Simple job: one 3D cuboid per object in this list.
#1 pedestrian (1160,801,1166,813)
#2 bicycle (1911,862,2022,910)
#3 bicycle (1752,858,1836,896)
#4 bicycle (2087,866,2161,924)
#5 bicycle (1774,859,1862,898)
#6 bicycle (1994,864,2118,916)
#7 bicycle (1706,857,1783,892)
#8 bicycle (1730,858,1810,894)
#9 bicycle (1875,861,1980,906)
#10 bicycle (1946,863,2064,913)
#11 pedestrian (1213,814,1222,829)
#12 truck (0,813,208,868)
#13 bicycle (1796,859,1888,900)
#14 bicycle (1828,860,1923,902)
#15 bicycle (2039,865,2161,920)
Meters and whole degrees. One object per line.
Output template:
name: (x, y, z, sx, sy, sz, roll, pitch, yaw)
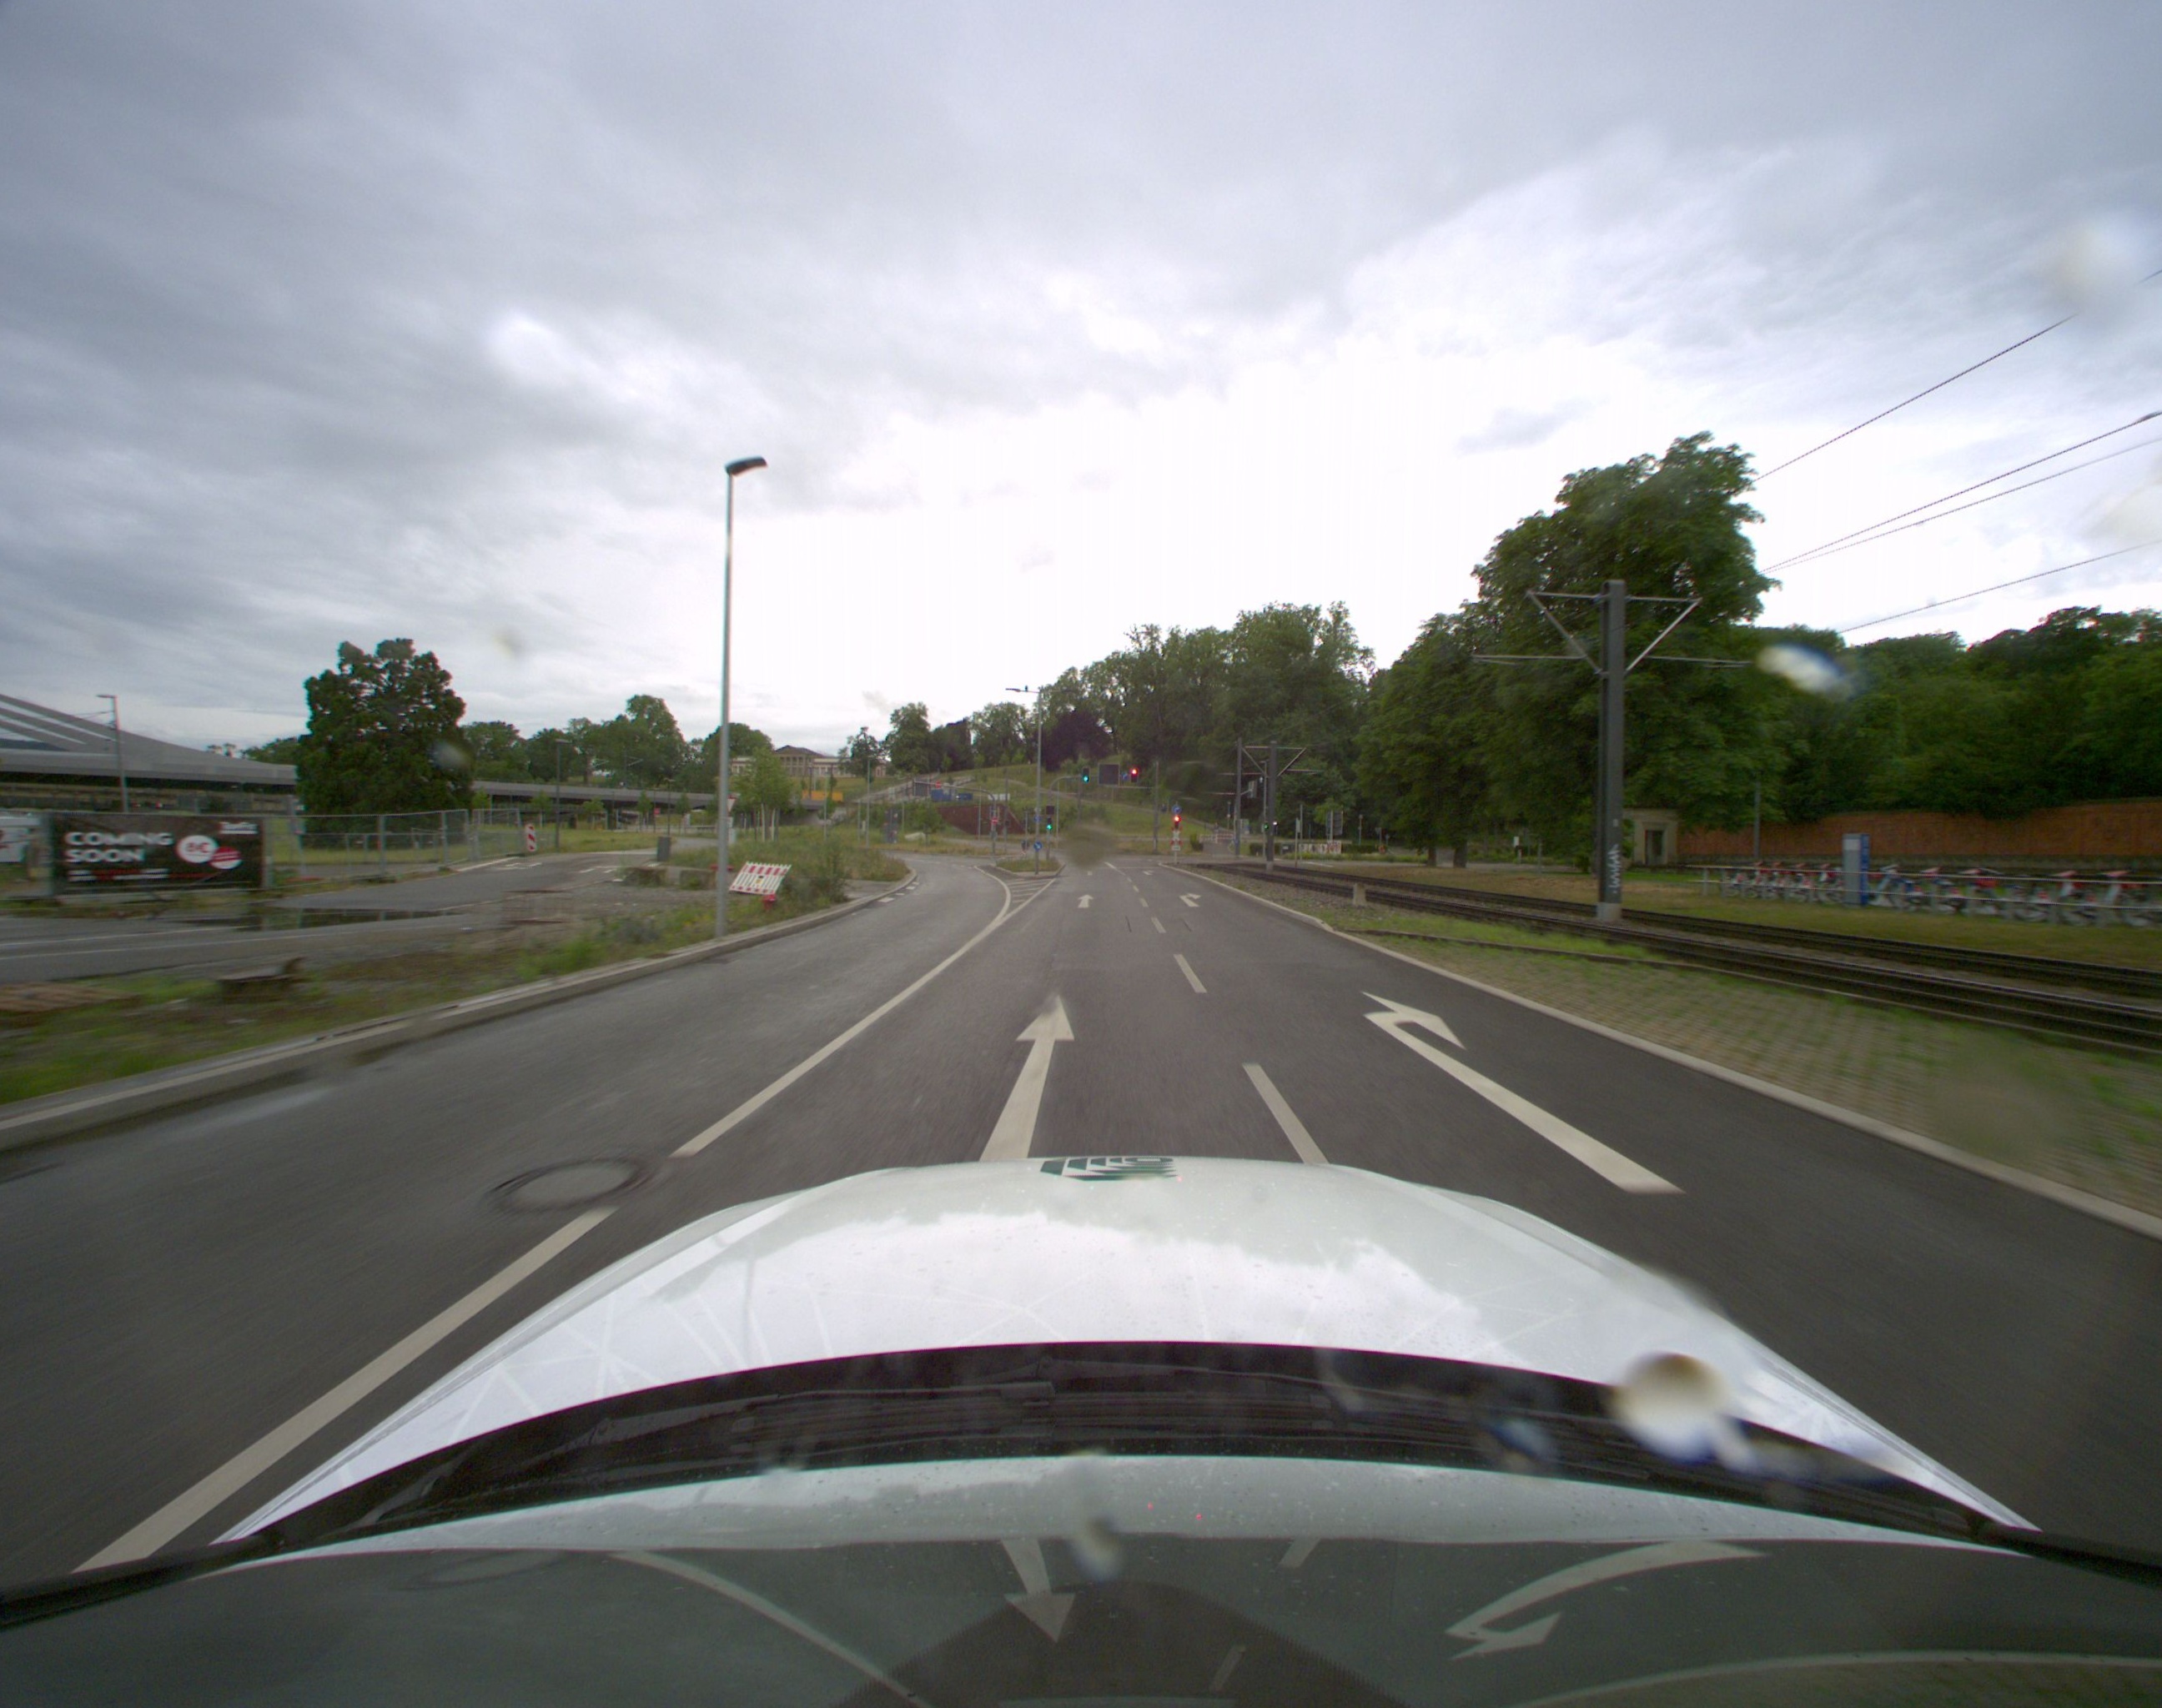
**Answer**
pedestrian: (13.184, -7.602, 131.549, 0.789, 2.012, 0.654, -3, 6, -14)
bicycle: (19.935, 0.707, 18.355, 1.805, 1.032, 0.653, 0, 0, -1)
bicycle: (20.107, 0.651, 22.975, 1.805, 1.032, 0.653, 0, 0, -1)
bicycle: (20.019, 0.748, 14.977, 2.216, 1.032, 0.689, 0, 0, -1)
bicycle: (20.004, 0.657, 22.119, 1.805, 1.032, 0.653, 0, 0, -1)
bicycle: (20.074, 0.737, 16.794, 1.805, 1.032, 0.653, 0, 0, -1)
bicycle: (20.136, 0.625, 24.737, 1.805, 1.032, 0.653, 0, 0, -1)
bicycle: (20.160, 0.633, 23.855, 1.805, 1.032, 0.653, 0, 0, -1)
bicycle: (19.927, 0.683, 19.191, 1.805, 1.034, 0.652, 0, 0, -1)
bicycle: (20.003, 0.723, 17.643, 1.841, 1.032, 0.653, 0, 0, -1)
pedestrian: (17.341, -4.136, 103.385, 0.951, 1.781, 1.127, 3, 2, 13)
truck: (-54.360, -0.698, 44.971, 7.996, 2.802, 2.397, 1, 1, -36)
bicycle: (19.982, 0.667, 21.401, 1.829, 1.032, 0.652, 0, 0, -1)
bicycle: (20.186, 0.676, 20.721, 1.805, 1.032, 0.653, 0, 0, -1)
bicycle: (19.994, 0.749, 15.911, 1.805, 1.032, 0.653, 0, 0, -1)
